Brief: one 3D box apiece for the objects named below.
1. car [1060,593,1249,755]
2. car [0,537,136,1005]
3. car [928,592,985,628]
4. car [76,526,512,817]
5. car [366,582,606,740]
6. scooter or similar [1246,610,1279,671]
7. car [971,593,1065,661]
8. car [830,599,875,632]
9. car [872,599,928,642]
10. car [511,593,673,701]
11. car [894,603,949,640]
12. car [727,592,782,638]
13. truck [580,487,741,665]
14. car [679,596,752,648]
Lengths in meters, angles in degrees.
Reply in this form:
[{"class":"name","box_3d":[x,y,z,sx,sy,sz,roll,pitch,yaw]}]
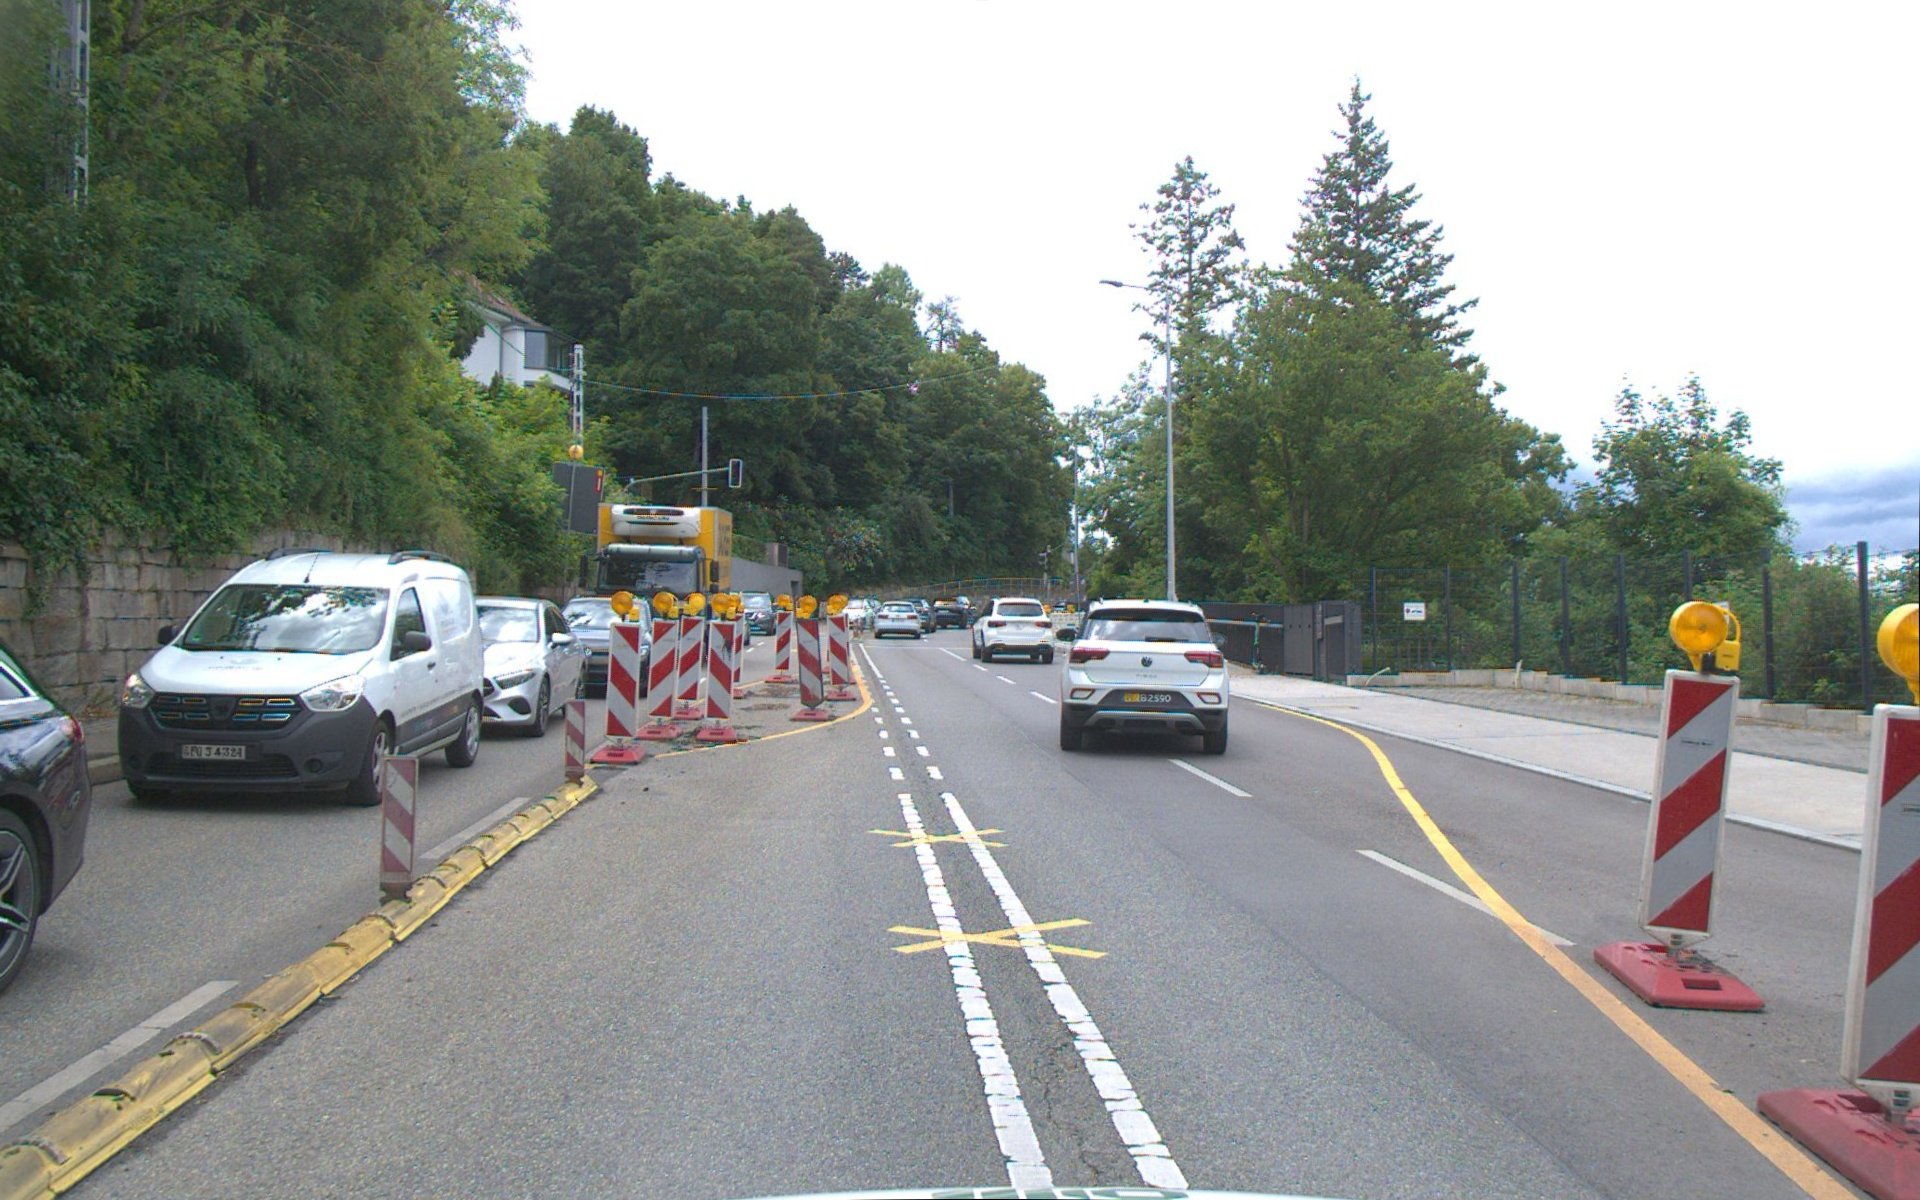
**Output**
[{"class":"car","box_3d":[2.040,0.736,18.278,1.828,1.563,3.805,1,0,3]},{"class":"car","box_3d":[-4.105,0.554,4.290,1.795,1.620,4.651,2,0,-4]},{"class":"car","box_3d":[-0.170,0.526,85.203,1.777,1.719,4.002,2,0,17]},{"class":"car","box_3d":[-4.896,0.478,12.895,1.767,1.822,4.339,2,0,-3]},{"class":"car","box_3d":[-5.225,0.624,18.803,1.756,1.534,4.307,2,0,-5]},{"class":"scooter or similar","box_3d":[6.504,0.859,35.594,0.523,1.248,1.206,-1,1,2]},{"class":"car","box_3d":[1.473,0.682,43.381,1.955,1.614,3.996,2,0,-5]},{"class":"car","box_3d":[-5.219,0.732,80.739,1.675,1.492,3.662,2,0,4]},{"class":"car","box_3d":[-2.363,0.807,65.993,1.867,1.601,4.001,2,0,2]},{"class":"car","box_3d":[-5.638,0.680,25.870,1.736,1.467,4.741,2,0,-4]},{"class":"car","box_3d":[-1.738,0.988,76.108,1.951,1.568,4.013,2,0,7]},{"class":"car","box_3d":[-8.043,0.574,65.053,1.846,1.726,4.667,1,0,-4]},{"class":"truck","box_3d":[-6.571,-0.467,37.359,2.677,3.571,7.344,1,0,-4]},{"class":"car","box_3d":[-7.290,0.619,49.639,1.774,1.455,4.871,1,0,-4]}]
